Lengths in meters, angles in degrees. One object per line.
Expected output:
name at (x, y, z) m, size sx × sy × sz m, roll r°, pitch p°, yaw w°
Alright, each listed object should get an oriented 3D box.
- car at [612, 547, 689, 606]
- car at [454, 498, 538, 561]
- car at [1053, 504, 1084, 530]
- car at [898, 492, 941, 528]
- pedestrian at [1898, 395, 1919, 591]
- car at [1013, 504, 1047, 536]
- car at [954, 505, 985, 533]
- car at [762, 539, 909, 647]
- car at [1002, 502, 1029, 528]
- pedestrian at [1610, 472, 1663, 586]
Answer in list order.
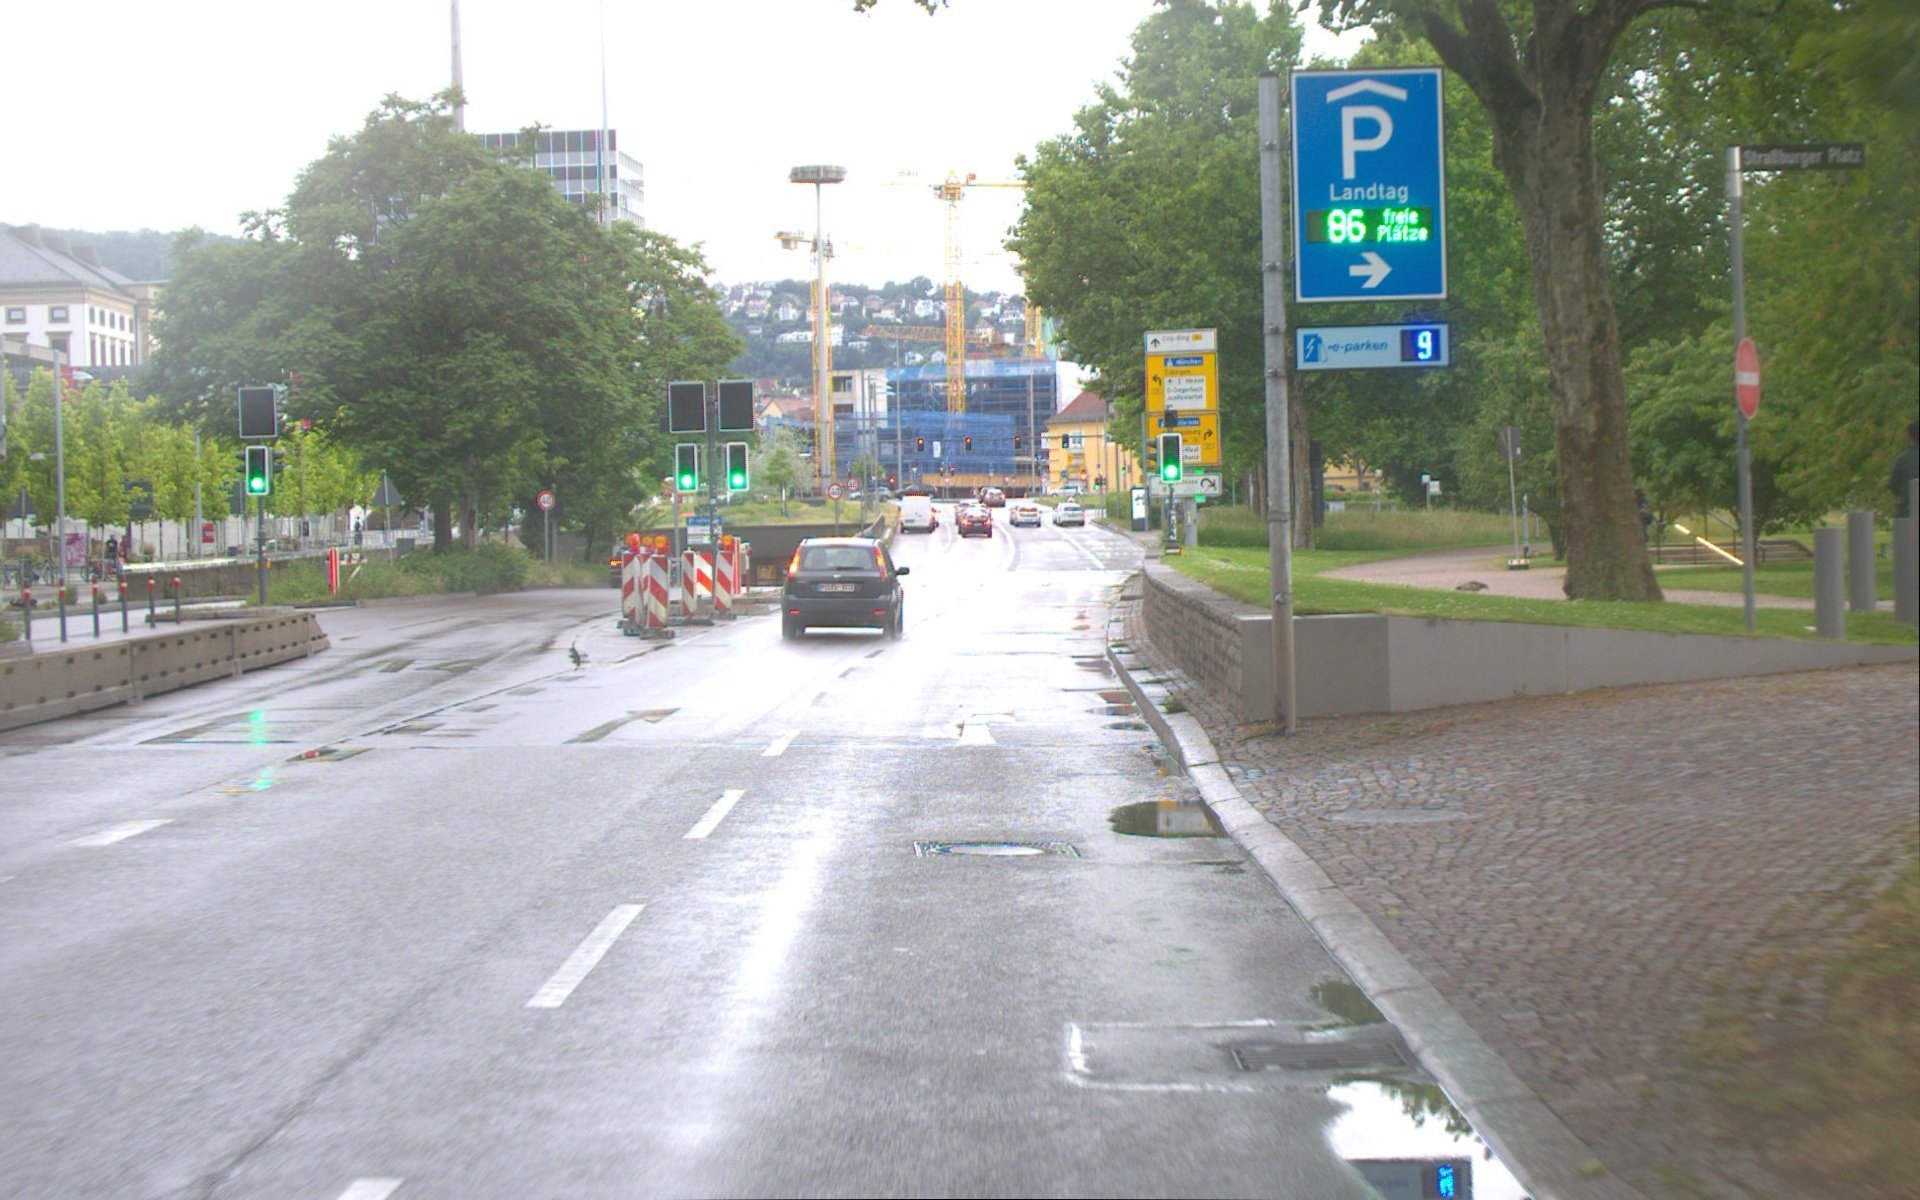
car at (-9.951, -0.770, 110.737) m, size 1.993 × 1.775 × 4.000 m, roll -2°, pitch 1°, yaw 1°
car at (-12.424, -1.875, 92.266) m, size 1.993 × 1.626 × 4.001 m, roll -1°, pitch 1°, yaw -5°
car at (7.509, -5.715, 236.662) m, size 1.994 × 1.594 × 4.000 m, roll -3°, pitch 0°, yaw 3°
car at (-2.551, -5.705, 217.958) m, size 2.220 × 2.007 × 3.999 m, roll -3°, pitch -1°, yaw 5°
pedestrian at (8.738, -0.954, 30.260) m, size 0.705 × 1.712 × 0.692 m, roll -3°, pitch 1°, yaw 0°
car at (4.764, -5.418, 234.214) m, size 1.987 × 2.007 × 4.000 m, roll -3°, pitch 0°, yaw -3°
car at (0.699, -5.692, 241.794) m, size 1.993 × 1.776 × 4.000 m, roll -3°, pitch 0°, yaw 2°
car at (-1.847, -0.093, 49.811) m, size 1.843 × 1.411 × 3.840 m, roll -3°, pitch 0°, yaw -5°
car at (3.870, -5.909, 239.508) m, size 1.713 × 1.684 × 3.848 m, roll -3°, pitch 0°, yaw 3°
pedestrian at (10.621, -1.113, 53.969) m, size 0.594 × 1.749 × 0.725 m, roll -3°, pitch 1°, yaw -2°
